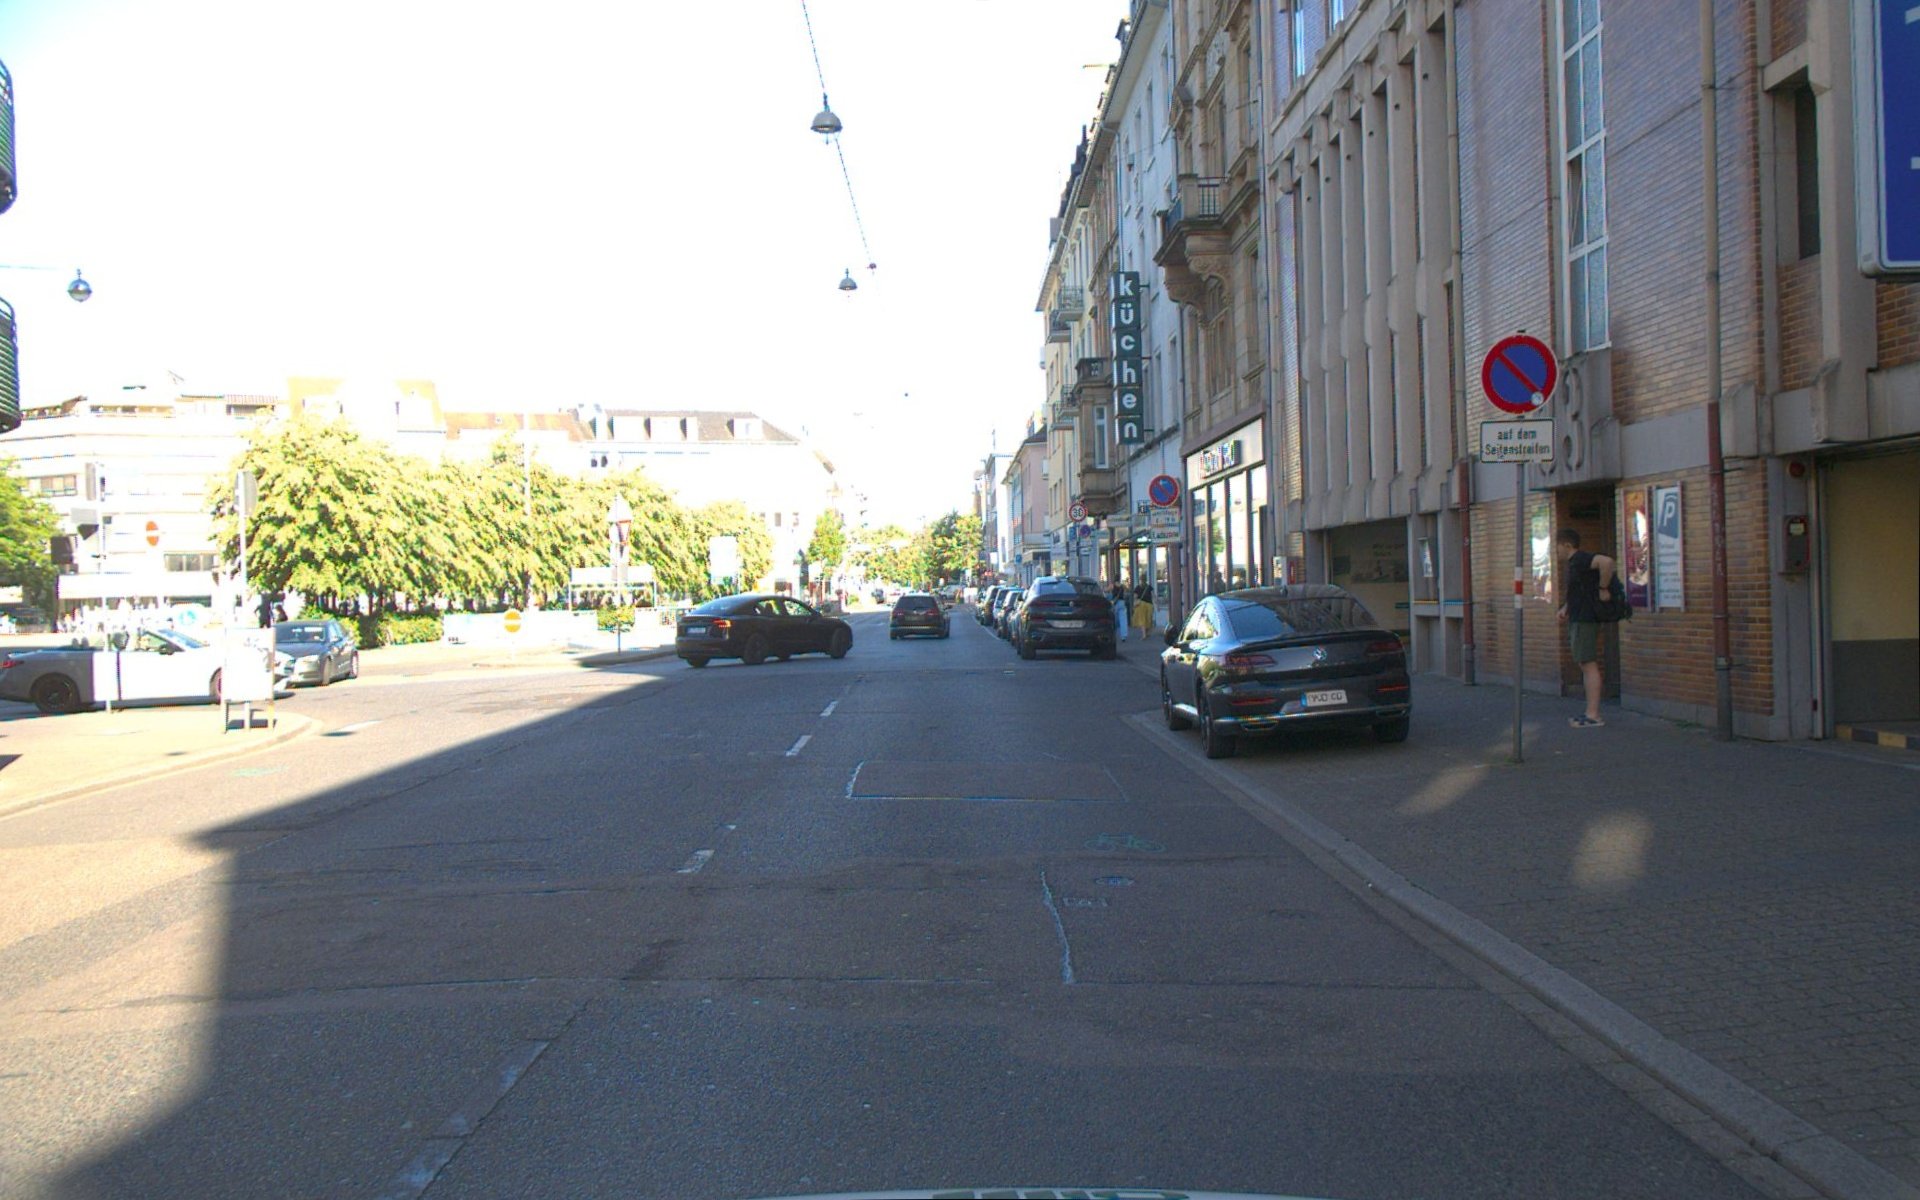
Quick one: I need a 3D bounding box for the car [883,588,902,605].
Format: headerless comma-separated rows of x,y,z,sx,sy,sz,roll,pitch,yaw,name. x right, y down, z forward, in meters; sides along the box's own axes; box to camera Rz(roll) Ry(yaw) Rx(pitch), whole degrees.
-7.589,-0.401,186.779,1.952,1.802,4.001,-1,1,1,car

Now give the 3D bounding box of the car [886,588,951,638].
-1.294,0.385,53.416,1.895,1.513,4.272,-1,0,1,car

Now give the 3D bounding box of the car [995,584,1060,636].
2.114,0.282,52.586,1.801,1.573,4.227,0,1,-1,car

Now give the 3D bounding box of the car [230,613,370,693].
-14.604,1.124,36.829,1.715,1.447,4.532,-2,2,-7,car

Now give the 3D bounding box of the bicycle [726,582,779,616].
-12.806,-0.051,102.074,3.054,2.049,0.910,-1,0,8,bicycle

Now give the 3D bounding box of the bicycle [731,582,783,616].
-12.661,-0.065,103.119,3.054,2.049,0.910,-1,0,8,bicycle

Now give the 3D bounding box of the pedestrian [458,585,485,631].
-23.083,0.380,78.204,0.717,2.145,0.967,-1,0,21,pedestrian

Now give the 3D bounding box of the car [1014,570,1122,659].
2.233,0.257,35.289,1.933,1.755,4.823,0,1,-1,car

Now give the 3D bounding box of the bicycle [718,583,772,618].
-12.993,0.035,99.951,3.054,2.049,0.910,-1,0,8,bicycle

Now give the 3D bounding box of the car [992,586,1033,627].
2.061,0.232,65.585,1.580,1.573,2.855,0,1,0,car

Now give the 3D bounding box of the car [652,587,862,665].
-4.290,0.515,35.572,1.962,1.506,4.478,-1,1,36,car

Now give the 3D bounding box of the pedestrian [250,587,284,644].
-26.748,0.596,63.850,0.717,2.145,0.967,-1,0,21,pedestrian

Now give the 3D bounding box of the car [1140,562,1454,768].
3.037,0.506,16.056,1.879,1.504,4.964,-6,1,-1,car

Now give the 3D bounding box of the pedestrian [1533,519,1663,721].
5.567,0.165,14.473,0.678,1.663,0.889,-4,1,-2,pedestrian

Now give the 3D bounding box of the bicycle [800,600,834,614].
-9.787,0.487,113.206,2.197,0.898,0.924,-1,0,3,bicycle

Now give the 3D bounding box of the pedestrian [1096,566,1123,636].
3.874,0.021,42.948,0.607,1.797,0.518,-2,0,2,pedestrian

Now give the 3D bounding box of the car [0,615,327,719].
-14.046,1.145,29.336,5.018,1.447,1.992,-3,0,-16,car

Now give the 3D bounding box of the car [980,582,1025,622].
1.796,0.101,71.207,1.682,1.664,4.082,0,-1,-2,car

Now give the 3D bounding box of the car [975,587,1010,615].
1.698,0.063,88.765,1.756,1.485,3.867,0,-1,-1,car

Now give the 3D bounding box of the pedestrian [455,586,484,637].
-20.810,0.474,70.164,0.717,2.145,0.967,-1,0,21,pedestrian

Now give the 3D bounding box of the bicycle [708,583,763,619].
-13.275,0.079,97.910,3.054,2.049,0.910,-1,0,8,bicycle

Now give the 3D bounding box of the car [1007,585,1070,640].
2.198,0.330,47.133,1.576,1.474,3.830,0,1,-1,car

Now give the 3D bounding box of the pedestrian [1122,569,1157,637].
4.661,0.067,42.950,0.784,1.704,0.589,-3,0,2,pedestrian

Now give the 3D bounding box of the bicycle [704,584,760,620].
-13.379,0.100,96.952,3.054,2.049,0.910,-1,0,8,bicycle

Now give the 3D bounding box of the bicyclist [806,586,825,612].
-9.875,-0.064,113.206,1.122,1.715,0.915,-1,0,2,bicyclist

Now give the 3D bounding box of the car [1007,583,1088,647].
2.190,0.342,42.272,1.801,1.513,4.184,0,1,-1,car
